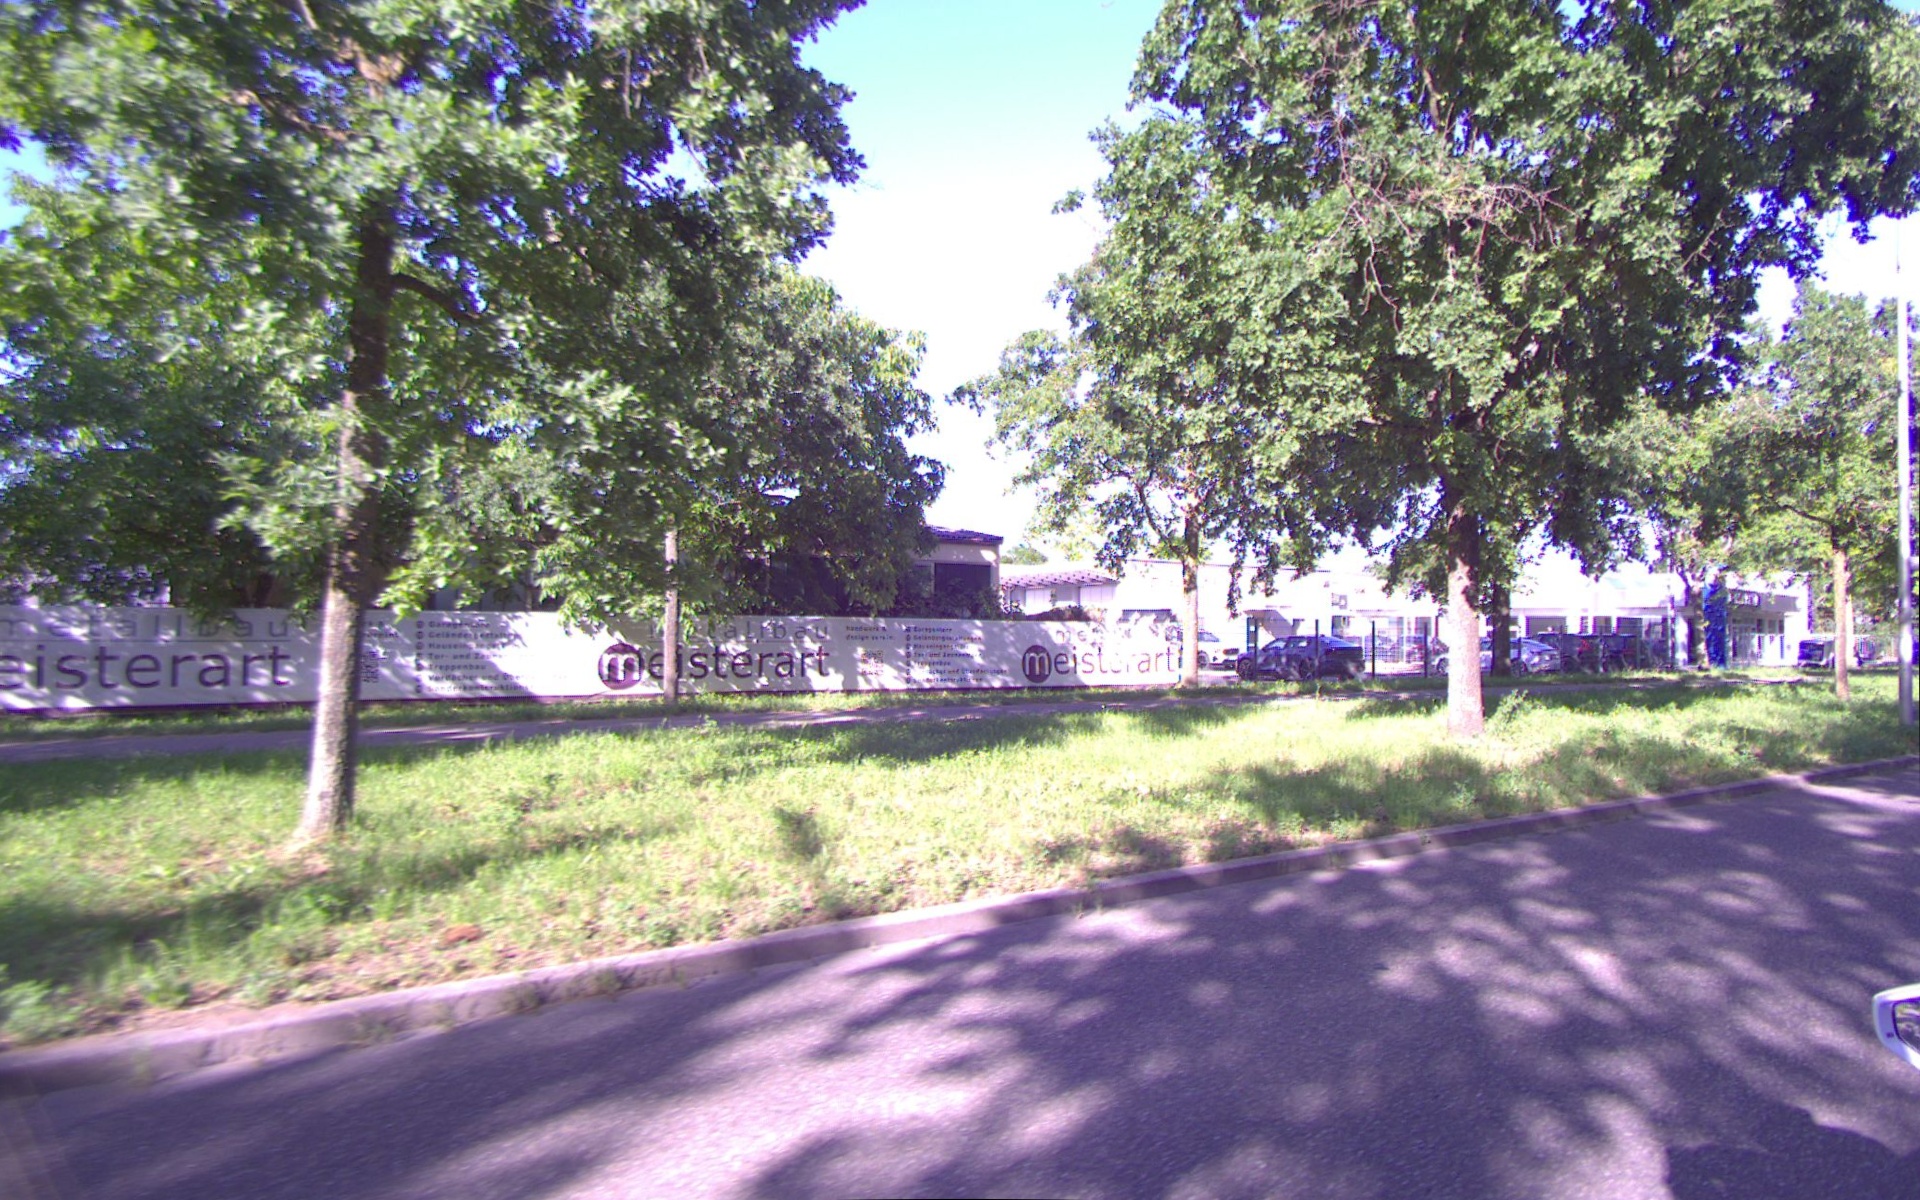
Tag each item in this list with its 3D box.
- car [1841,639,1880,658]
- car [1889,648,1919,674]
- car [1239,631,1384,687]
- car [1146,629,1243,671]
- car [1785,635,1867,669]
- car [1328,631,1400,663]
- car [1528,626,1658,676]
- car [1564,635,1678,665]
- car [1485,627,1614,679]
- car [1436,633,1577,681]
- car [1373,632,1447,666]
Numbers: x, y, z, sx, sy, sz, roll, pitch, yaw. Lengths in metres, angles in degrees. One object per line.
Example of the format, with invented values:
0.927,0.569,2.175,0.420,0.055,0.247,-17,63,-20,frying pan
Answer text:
81.674,4.377,91.112,4.845,1.587,1.977,2,0,-40,car
63.091,3.991,66.016,4.964,1.619,1.981,2,0,-35,car
11.298,1.872,32.517,2.172,1.539,3.968,2,0,-30,car
9.816,2.050,42.269,1.731,1.539,3.968,2,0,-30,car
40.330,2.416,46.839,1.402,1.489,2.567,1,-1,-16,car
23.231,2.658,57.678,1.973,1.683,5.227,2,0,44,car
25.466,2.010,40.507,1.976,1.765,3.969,2,0,-29,car
38.266,2.877,58.241,5.153,1.683,2.001,0,0,6,car
22.918,2.025,39.180,1.840,1.769,3.968,2,0,-30,car
20.354,2.080,37.602,1.840,1.539,4.290,2,0,-30,car
24.385,2.611,54.314,1.973,1.683,5.227,2,0,44,car
